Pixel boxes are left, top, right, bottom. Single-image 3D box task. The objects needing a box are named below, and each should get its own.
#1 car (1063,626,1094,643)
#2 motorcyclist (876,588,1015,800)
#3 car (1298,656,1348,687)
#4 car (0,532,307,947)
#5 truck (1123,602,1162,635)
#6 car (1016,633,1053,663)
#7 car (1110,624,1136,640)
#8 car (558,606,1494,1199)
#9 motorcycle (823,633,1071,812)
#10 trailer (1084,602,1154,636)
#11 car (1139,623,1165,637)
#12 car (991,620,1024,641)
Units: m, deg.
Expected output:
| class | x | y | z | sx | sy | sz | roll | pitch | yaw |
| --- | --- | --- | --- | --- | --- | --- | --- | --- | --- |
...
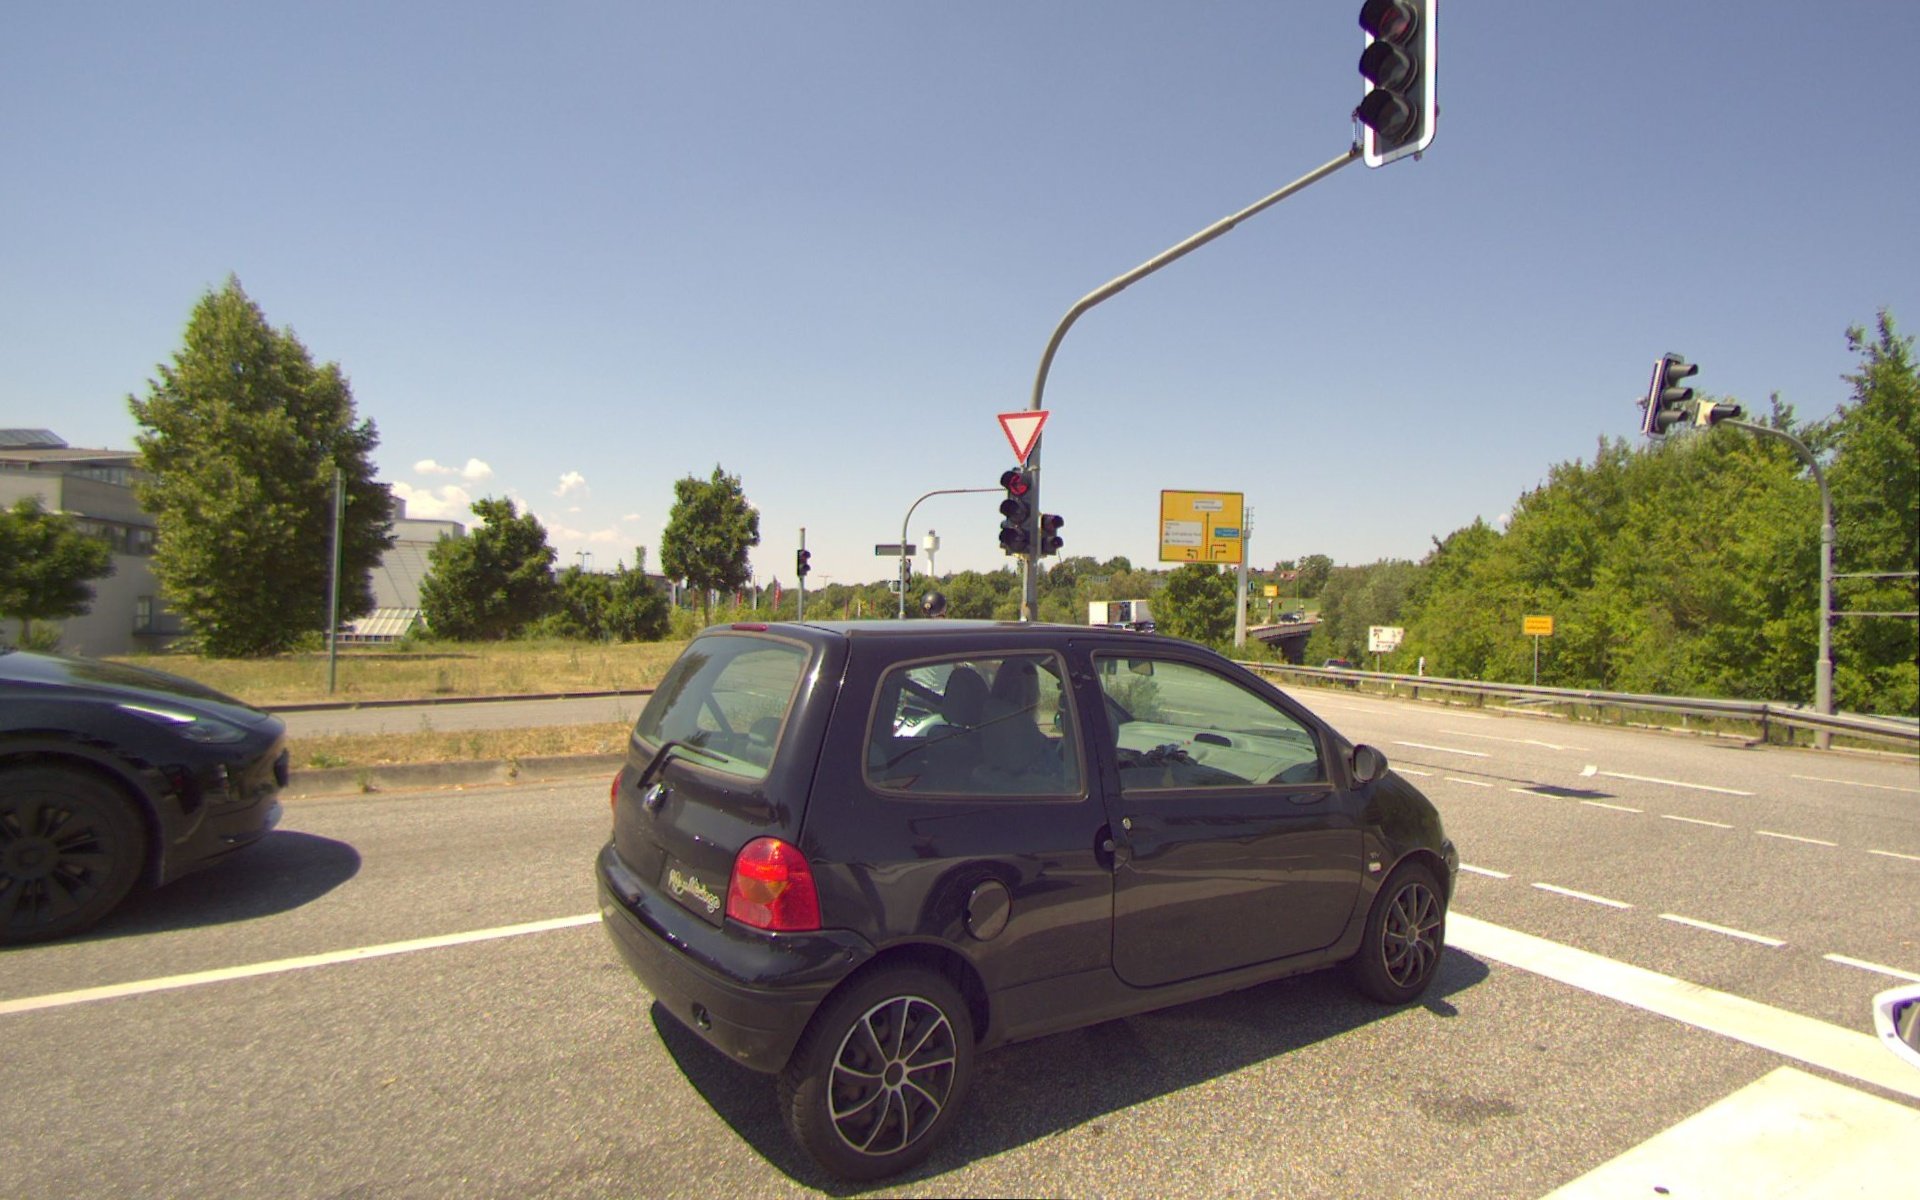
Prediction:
| class | x | y | z | sx | sy | sz | roll | pitch | yaw |
| --- | --- | --- | --- | --- | --- | --- | --- | --- | --- |
| car | 12.115 | 3.506 | 102.651 | 1.848 | 1.644 | 3.995 | 1 | 0 | 27 |
| motorcyclist | -0.113 | 0.711 | 7.911 | 0.838 | 1.560 | 0.607 | 3 | 0 | -34 |
| car | 19.964 | 3.900 | 55.417 | 1.775 | 1.452 | 4.417 | 4 | -2 | 10 |
| car | -5.285 | 0.502 | 3.959 | 4.462 | 1.622 | 1.862 | 2 | 0 | -36 |
| truck | 25.327 | 2.504 | 139.380 | 3.186 | 4.305 | 6.221 | 1 | 1 | 33 |
| car | 4.126 | 2.641 | 56.139 | 1.776 | 1.452 | 3.930 | 4 | -2 | 2 |
| car | 18.939 | 3.678 | 116.466 | 1.899 | 1.687 | 3.995 | 1 | 0 | 27 |
| car | 0.372 | 0.787 | 3.836 | 3.267 | 1.426 | 1.609 | 2 | -1 | -34 |
| motorcycle | -0.067 | 0.923 | 7.934 | 1.921 | 1.255 | 0.572 | 3 | -1 | -35 |
| trailer | 21.226 | 2.423 | 132.945 | 3.186 | 4.305 | 15.367 | 1 | 0 | 32 |
| car | 23.974 | 3.720 | 125.466 | 1.964 | 1.573 | 3.993 | 2 | 0 | 29 |
| car | 4.236 | 2.711 | 88.926 | 1.848 | 1.755 | 4.001 | 1 | -1 | 18 |
